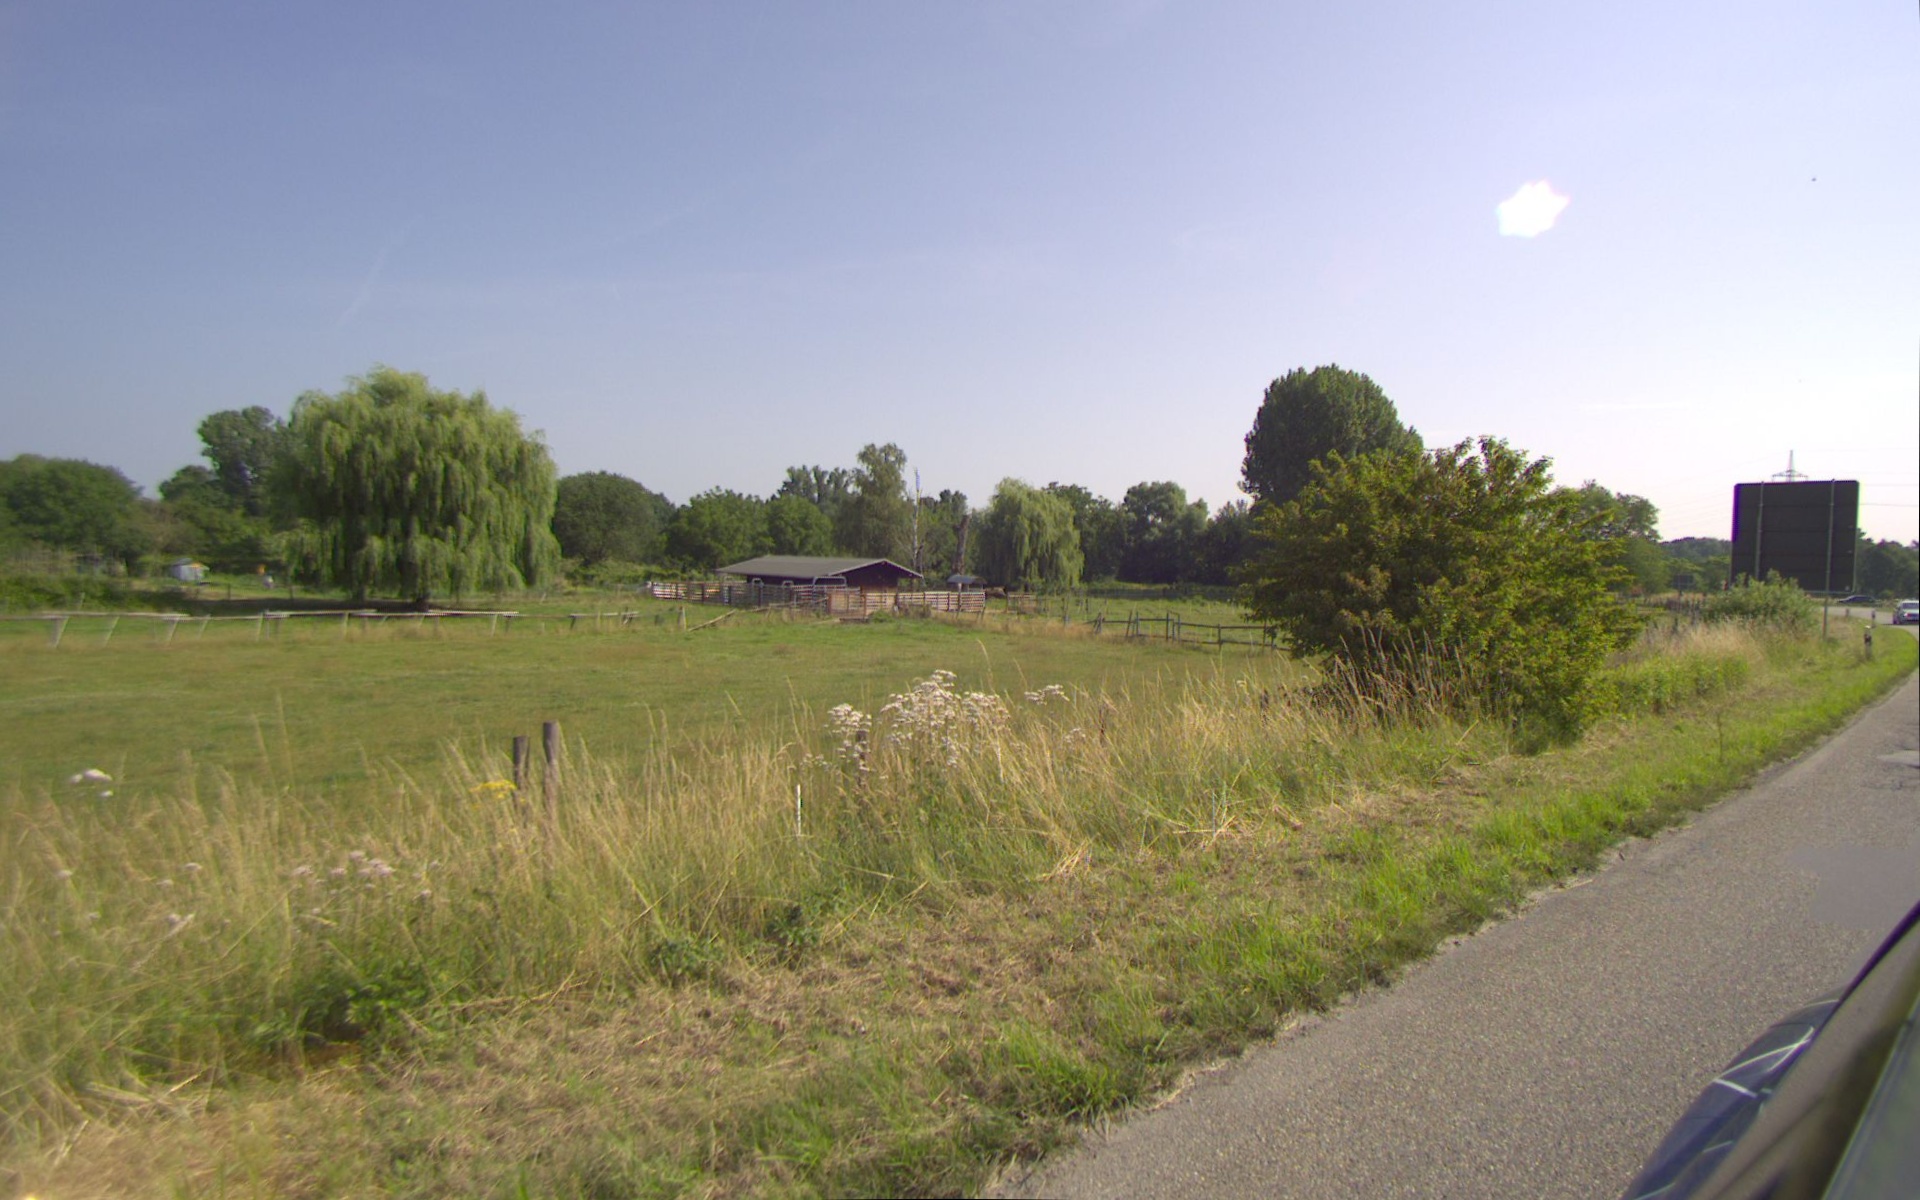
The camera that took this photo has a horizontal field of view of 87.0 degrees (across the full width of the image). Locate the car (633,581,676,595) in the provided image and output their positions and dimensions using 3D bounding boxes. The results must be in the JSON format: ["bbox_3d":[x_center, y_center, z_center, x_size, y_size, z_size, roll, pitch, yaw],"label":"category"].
[{"bbox_3d":[-23.326,-0.910,77.351,1.221,1.018,3.013,1,1,36],"label":"car"}]

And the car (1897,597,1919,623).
[{"bbox_3d":[63.577,0.651,66.981,1.990,1.599,3.855,1,1,38],"label":"car"}]

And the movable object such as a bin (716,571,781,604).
[{"bbox_3d":[-14.823,-0.885,71.019,1.993,2.221,4.099,-1,0,43],"label":"movable object such as a bin"}]

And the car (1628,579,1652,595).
[{"bbox_3d":[118.143,-2.323,175.811,2.104,2.729,5.235,1,1,19],"label":"car"}]
